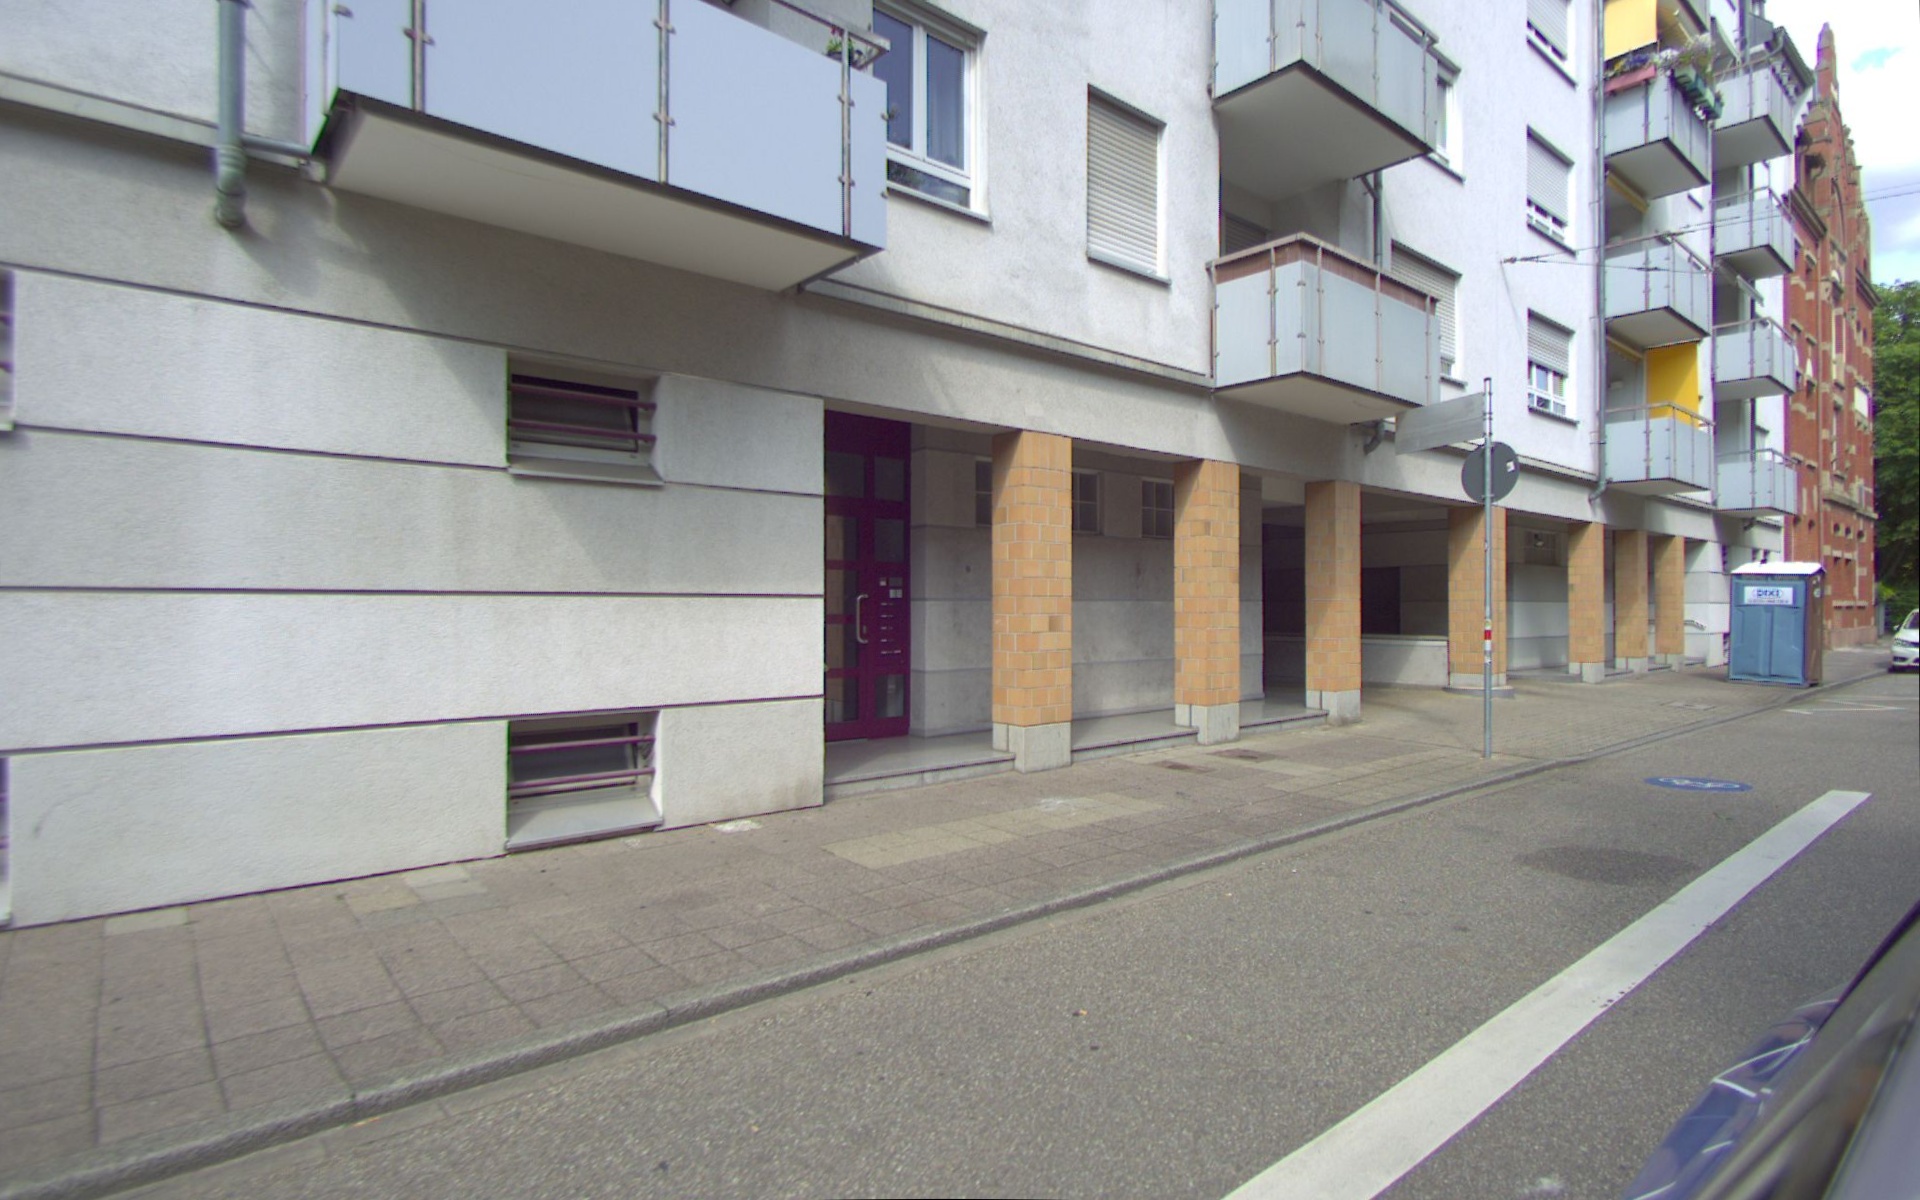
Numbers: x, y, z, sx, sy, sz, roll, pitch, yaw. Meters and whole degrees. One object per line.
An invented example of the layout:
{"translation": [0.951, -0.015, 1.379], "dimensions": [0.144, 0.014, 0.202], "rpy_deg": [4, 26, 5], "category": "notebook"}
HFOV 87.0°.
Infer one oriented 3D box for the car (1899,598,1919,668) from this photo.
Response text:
{"translation": [23.263, 0.729, 23.408], "dimensions": [3.970, 1.550, 1.799], "rpy_deg": [0, -1, -41], "category": "car"}
